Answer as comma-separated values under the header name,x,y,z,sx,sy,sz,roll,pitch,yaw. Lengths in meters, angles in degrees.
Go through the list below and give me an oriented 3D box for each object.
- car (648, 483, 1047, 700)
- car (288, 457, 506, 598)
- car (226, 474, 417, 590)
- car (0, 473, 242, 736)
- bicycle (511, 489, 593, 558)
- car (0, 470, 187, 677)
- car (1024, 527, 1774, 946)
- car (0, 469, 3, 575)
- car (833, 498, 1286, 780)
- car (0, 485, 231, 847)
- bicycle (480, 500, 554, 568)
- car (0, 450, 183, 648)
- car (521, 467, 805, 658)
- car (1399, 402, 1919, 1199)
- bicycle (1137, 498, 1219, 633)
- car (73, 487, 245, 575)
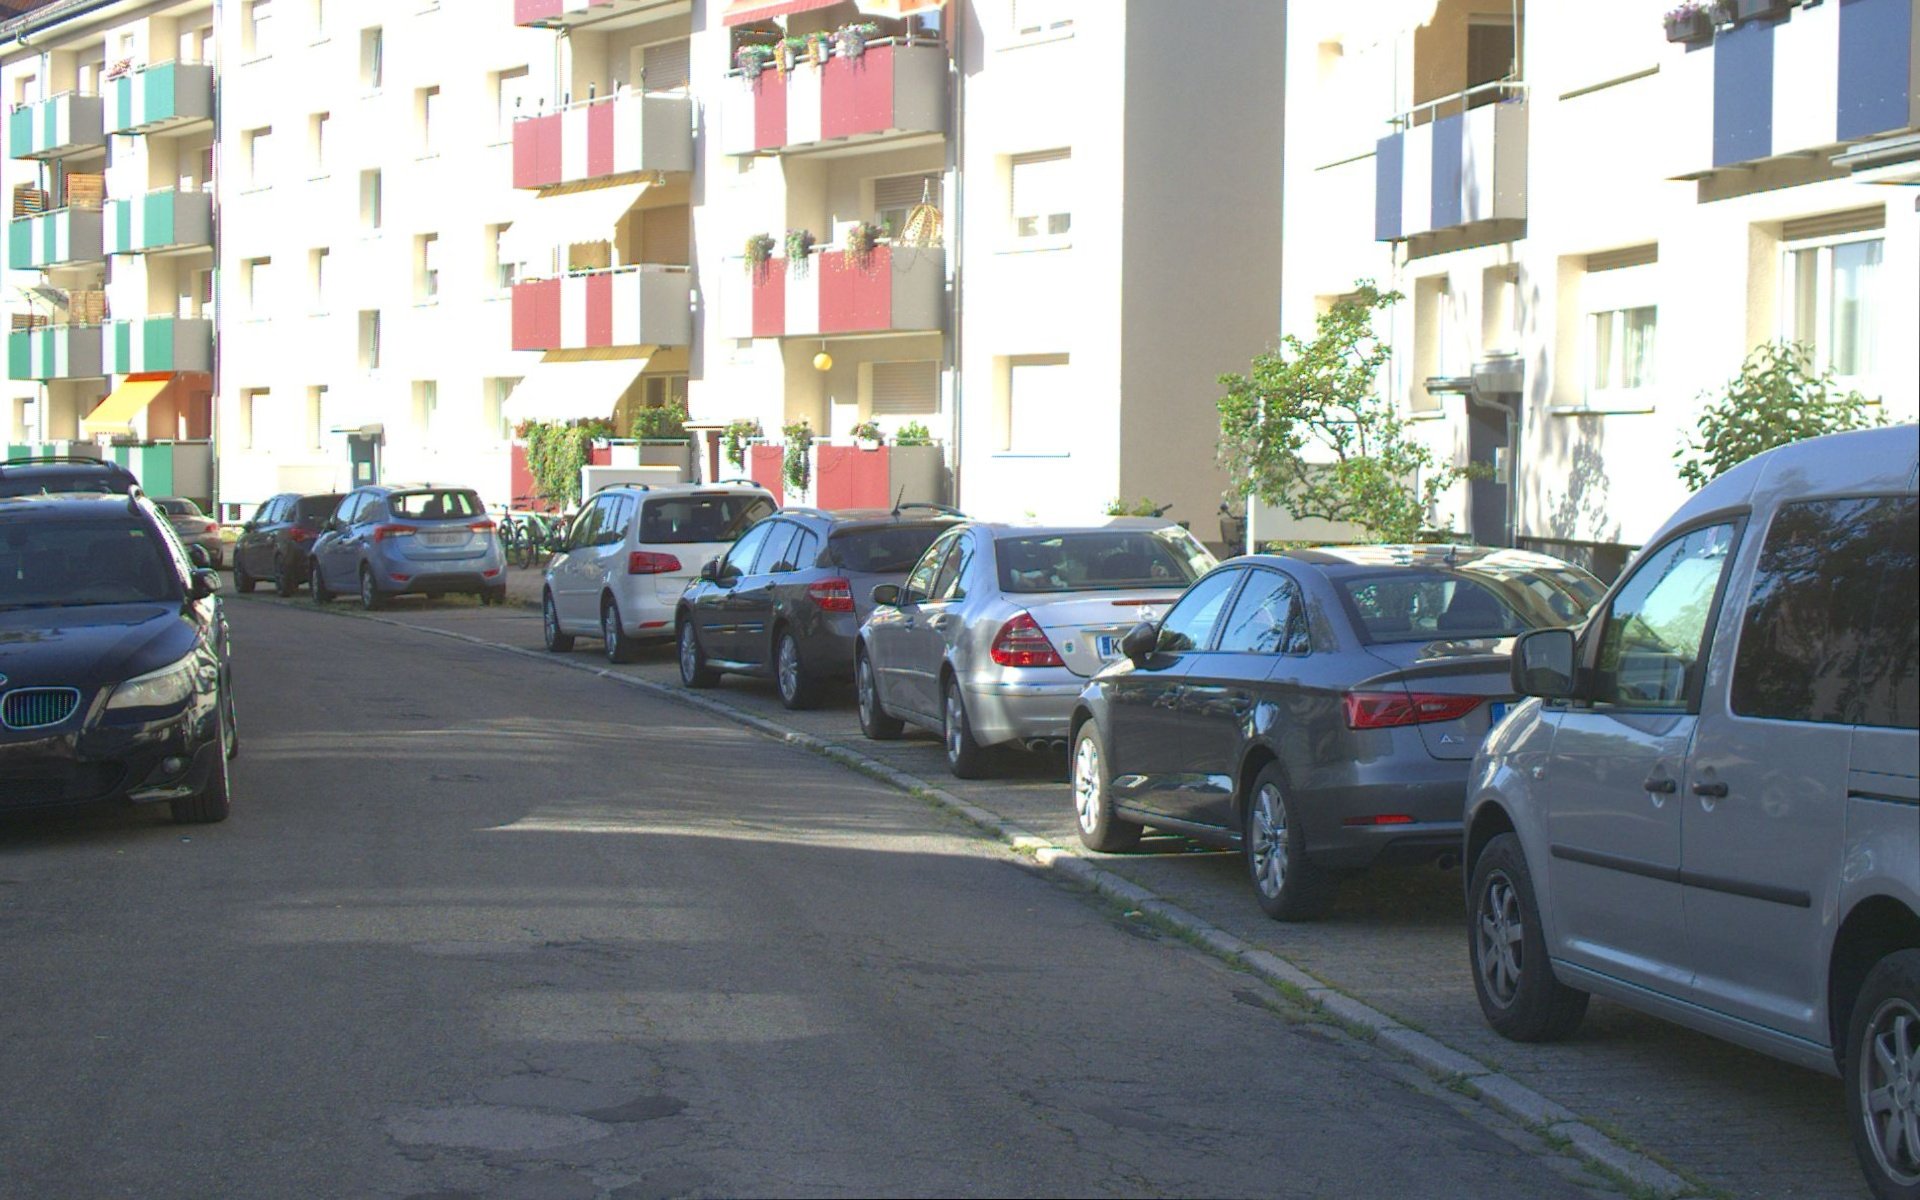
name,x,y,z,sx,sy,sz,roll,pitch,yaw
car,-0.978,-0.093,26.398,1.693,1.426,4.689,-4,2,-19
car,-7.392,-0.989,44.875,1.765,1.629,4.043,-3,4,-25
car,-9.248,-1.020,49.604,1.735,1.503,3.886,-3,4,-25
car,-5.544,-0.050,21.814,1.677,1.437,4.282,-3,3,-14
bicycle,-6.452,-1.215,54.290,0.617,0.974,1.896,-4,6,-27
car,-6.956,-0.264,26.971,1.555,1.437,3.969,-3,3,-14
car,1.645,0.437,14.635,1.677,1.402,4.547,0,2,-13
car,-14.138,-1.085,46.360,1.693,1.384,4.158,-2,3,-25
car,0.456,0.139,20.698,1.677,1.442,4.726,0,2,-12
car,-4.475,0.218,16.652,1.677,1.447,4.622,-3,3,-11
bicycle,-6.927,-1.034,53.684,0.497,1.016,1.842,-2,3,-28
car,-8.479,-0.538,32.948,1.555,1.708,4.339,-3,3,-18
car,-2.913,-0.422,32.898,1.693,1.650,4.392,-2,3,-19
car,2.636,0.390,8.983,1.746,1.817,4.133,-2,3,-10
bicycle,2.060,-0.345,32.626,0.514,1.198,1.762,-1,3,-4
car,-13.779,-1.213,58.994,1.685,1.358,4.240,-3,4,-29
